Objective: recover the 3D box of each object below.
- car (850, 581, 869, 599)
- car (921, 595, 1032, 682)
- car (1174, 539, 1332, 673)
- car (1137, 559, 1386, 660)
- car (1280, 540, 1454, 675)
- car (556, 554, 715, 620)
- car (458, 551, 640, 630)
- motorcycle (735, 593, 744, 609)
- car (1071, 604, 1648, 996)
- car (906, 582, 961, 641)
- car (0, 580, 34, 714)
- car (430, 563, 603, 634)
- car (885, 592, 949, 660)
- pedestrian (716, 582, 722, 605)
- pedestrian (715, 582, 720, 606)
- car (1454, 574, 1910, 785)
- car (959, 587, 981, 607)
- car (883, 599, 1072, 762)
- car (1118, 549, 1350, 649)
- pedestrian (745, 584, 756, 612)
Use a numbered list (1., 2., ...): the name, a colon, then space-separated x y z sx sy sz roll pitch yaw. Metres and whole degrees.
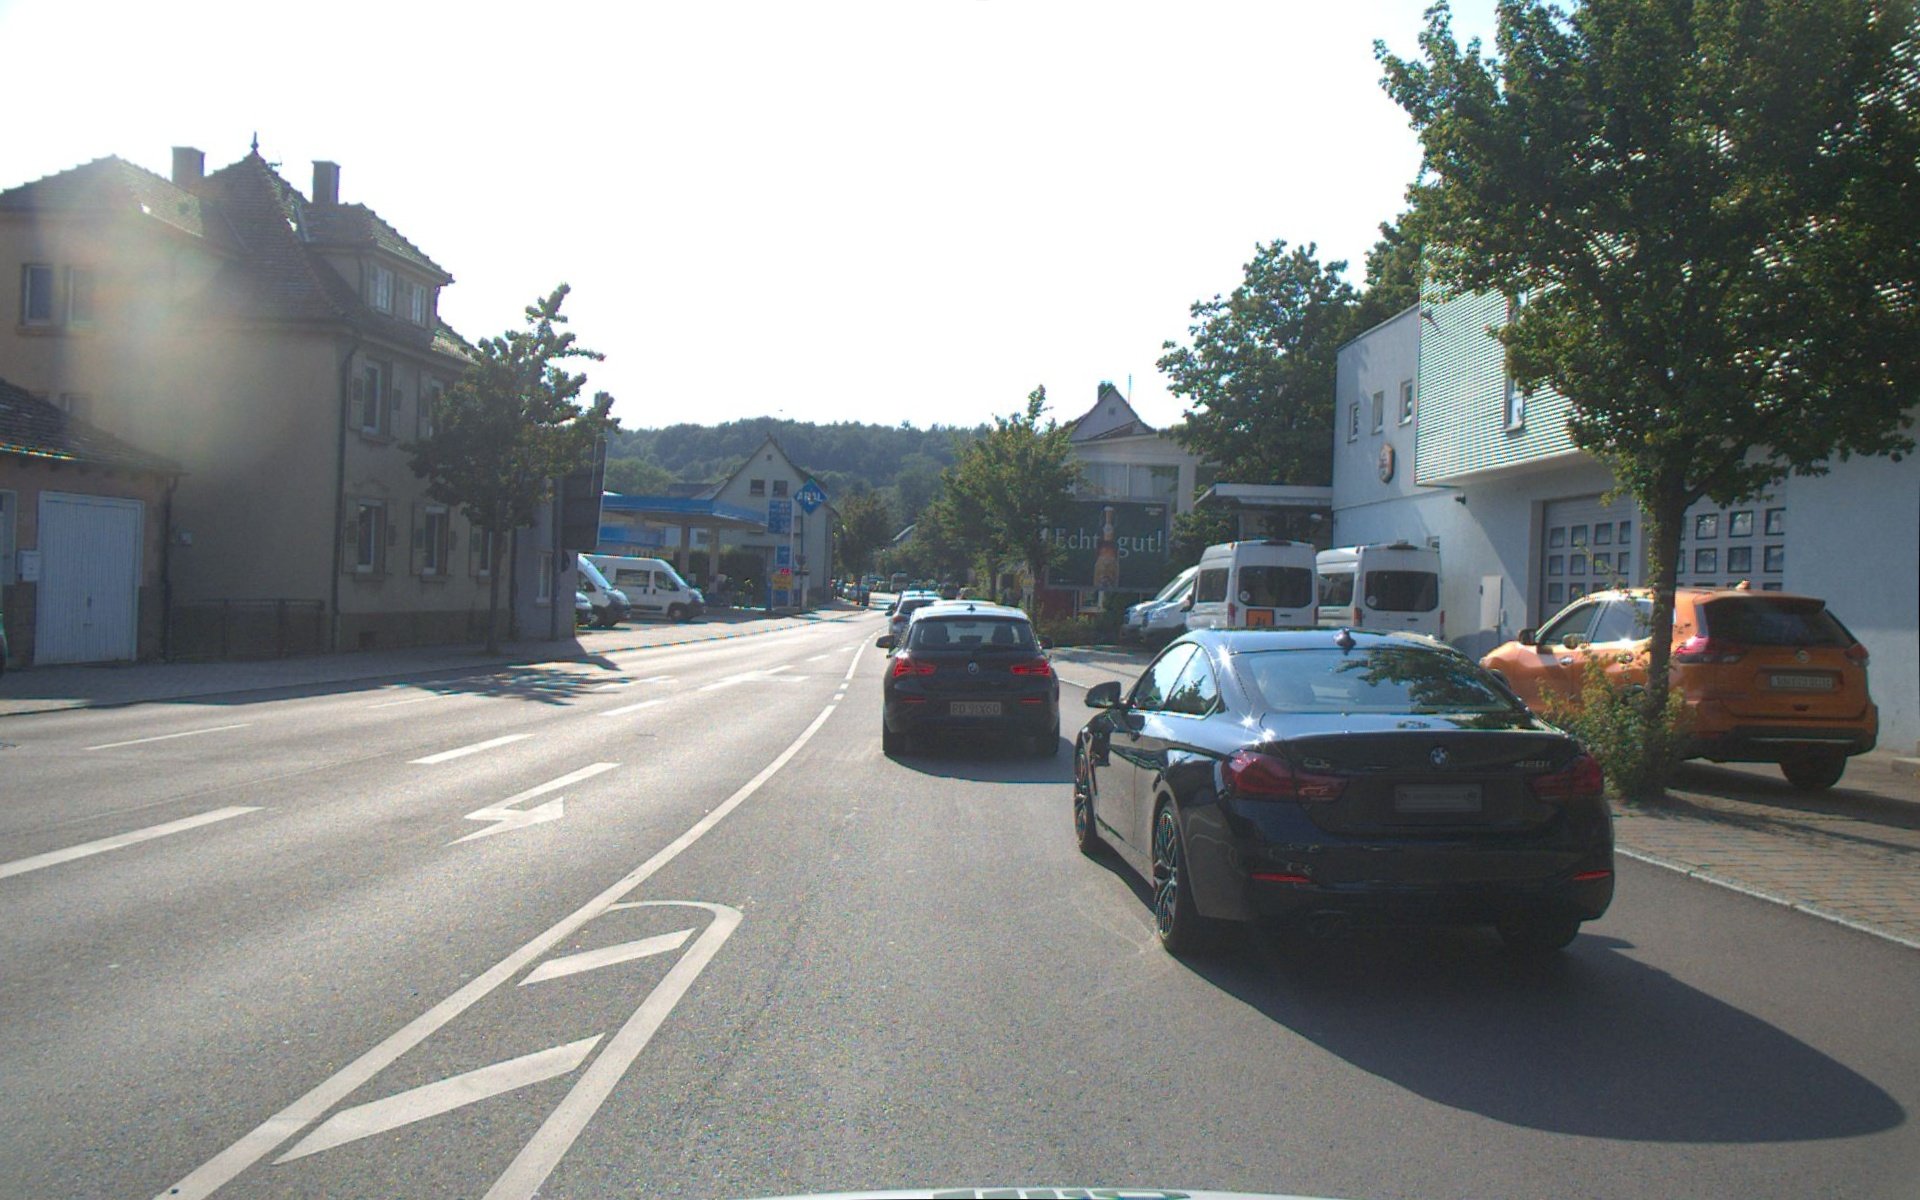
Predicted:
1. car: -8.886 -0.906 146.371 1.565 1.511 3.473 2 1 -2
2. car: 0.254 0.664 30.507 1.719 1.438 3.419 1 1 -5
3. car: 6.470 0.085 37.402 2.106 2.727 6.600 1 1 -2
4. car: 7.639 0.220 42.305 5.923 2.404 2.043 1 1 -3
5. car: 9.097 0.114 37.610 2.069 2.769 6.440 1 1 -3
6. car: -13.358 -0.540 68.337 6.033 2.487 2.249 2 0 -1
7. car: -14.502 -0.352 58.598 5.796 2.523 2.195 2 1 3
8. motorcycle: -13.203 0.064 98.940 0.356 0.960 1.695 1 1 -2
9. car: 1.656 0.757 8.351 1.666 1.393 4.260 0 1 -3
10. car: -0.825 0.334 53.025 1.570 1.798 3.411 1 1 1
11. car: -11.838 0.506 17.311 1.719 1.504 4.003 4 1 5
12. car: -14.064 -0.044 52.620 4.873 2.034 1.936 2 0 2
13. car: -1.149 0.650 43.340 1.560 1.628 3.892 1 1 -2
14. pedestrian: -14.267 -0.392 97.835 0.281 1.390 0.262 1 0 -5
15. pedestrian: -14.389 -0.380 98.210 0.257 1.407 0.288 1 0 -2
16. car: 6.498 0.633 15.543 1.800 1.678 4.530 1 0 -8
17. car: 0.792 -0.245 134.064 1.565 1.511 3.473 2 1 -2
18. car: 0.169 0.744 17.124 1.735 1.482 3.516 1 0 0
19. car: 7.445 -0.023 45.257 5.923 2.560 2.043 1 1 -3
20. pedestrian: -12.574 -0.132 99.295 0.598 1.699 0.442 1 0 -4
